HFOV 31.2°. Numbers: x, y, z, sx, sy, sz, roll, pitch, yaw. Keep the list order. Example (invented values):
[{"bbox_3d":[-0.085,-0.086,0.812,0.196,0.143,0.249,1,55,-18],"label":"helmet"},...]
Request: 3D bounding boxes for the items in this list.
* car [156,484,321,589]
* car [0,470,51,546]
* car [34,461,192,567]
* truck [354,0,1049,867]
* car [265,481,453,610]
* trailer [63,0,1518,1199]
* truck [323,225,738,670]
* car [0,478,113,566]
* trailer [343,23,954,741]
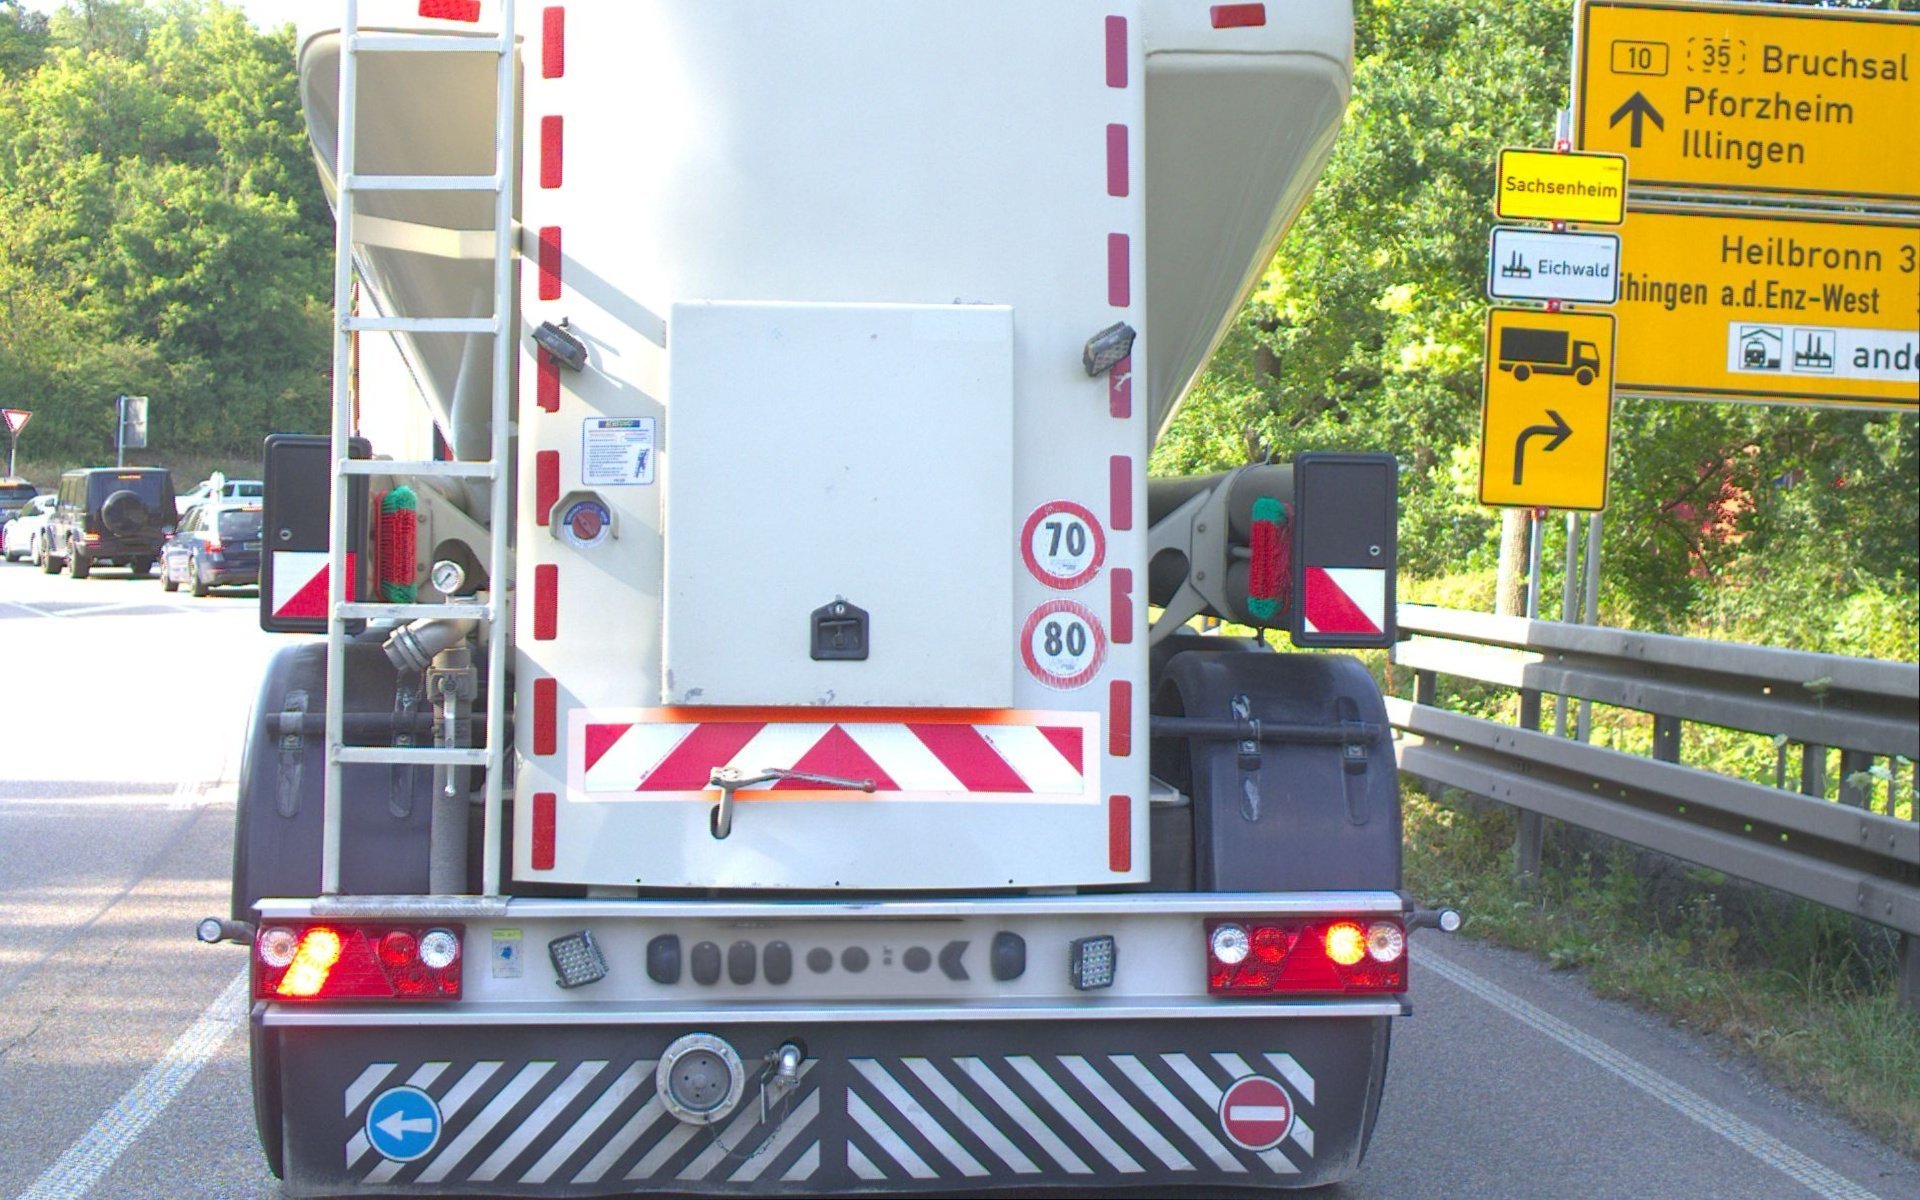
[{"bbox_3d":[-11.304,-1.020,53.696,1.867,1.559,4.001,-1,2,-21],"label":"car"},{"bbox_3d":[-21.353,-2.069,75.397,1.867,1.589,4.001,2,1,-27],"label":"car"},{"bbox_3d":[-15.415,-1.592,62.434,1.956,1.845,4.001,-1,3,-26],"label":"car"},{"bbox_3d":[-1.419,-0.968,17.134,2.823,4.021,5.896,1,1,-7],"label":"truck"},{"bbox_3d":[-8.023,-0.764,45.628,1.867,1.622,4.002,-1,2,-18],"label":"car"},{"bbox_3d":[-0.811,-1.022,11.655,2.886,4.439,9.608,1,1,-6],"label":"trailer"},{"bbox_3d":[-4.602,-1.479,35.488,3.449,4.072,6.493,1,1,-13],"label":"truck"},{"bbox_3d":[-18.809,-1.623,70.466,1.867,1.677,4.001,2,1,-27],"label":"car"},{"bbox_3d":[-3.126,-1.506,28.547,3.544,4.497,12.988,1,1,-11],"label":"trailer"}]
